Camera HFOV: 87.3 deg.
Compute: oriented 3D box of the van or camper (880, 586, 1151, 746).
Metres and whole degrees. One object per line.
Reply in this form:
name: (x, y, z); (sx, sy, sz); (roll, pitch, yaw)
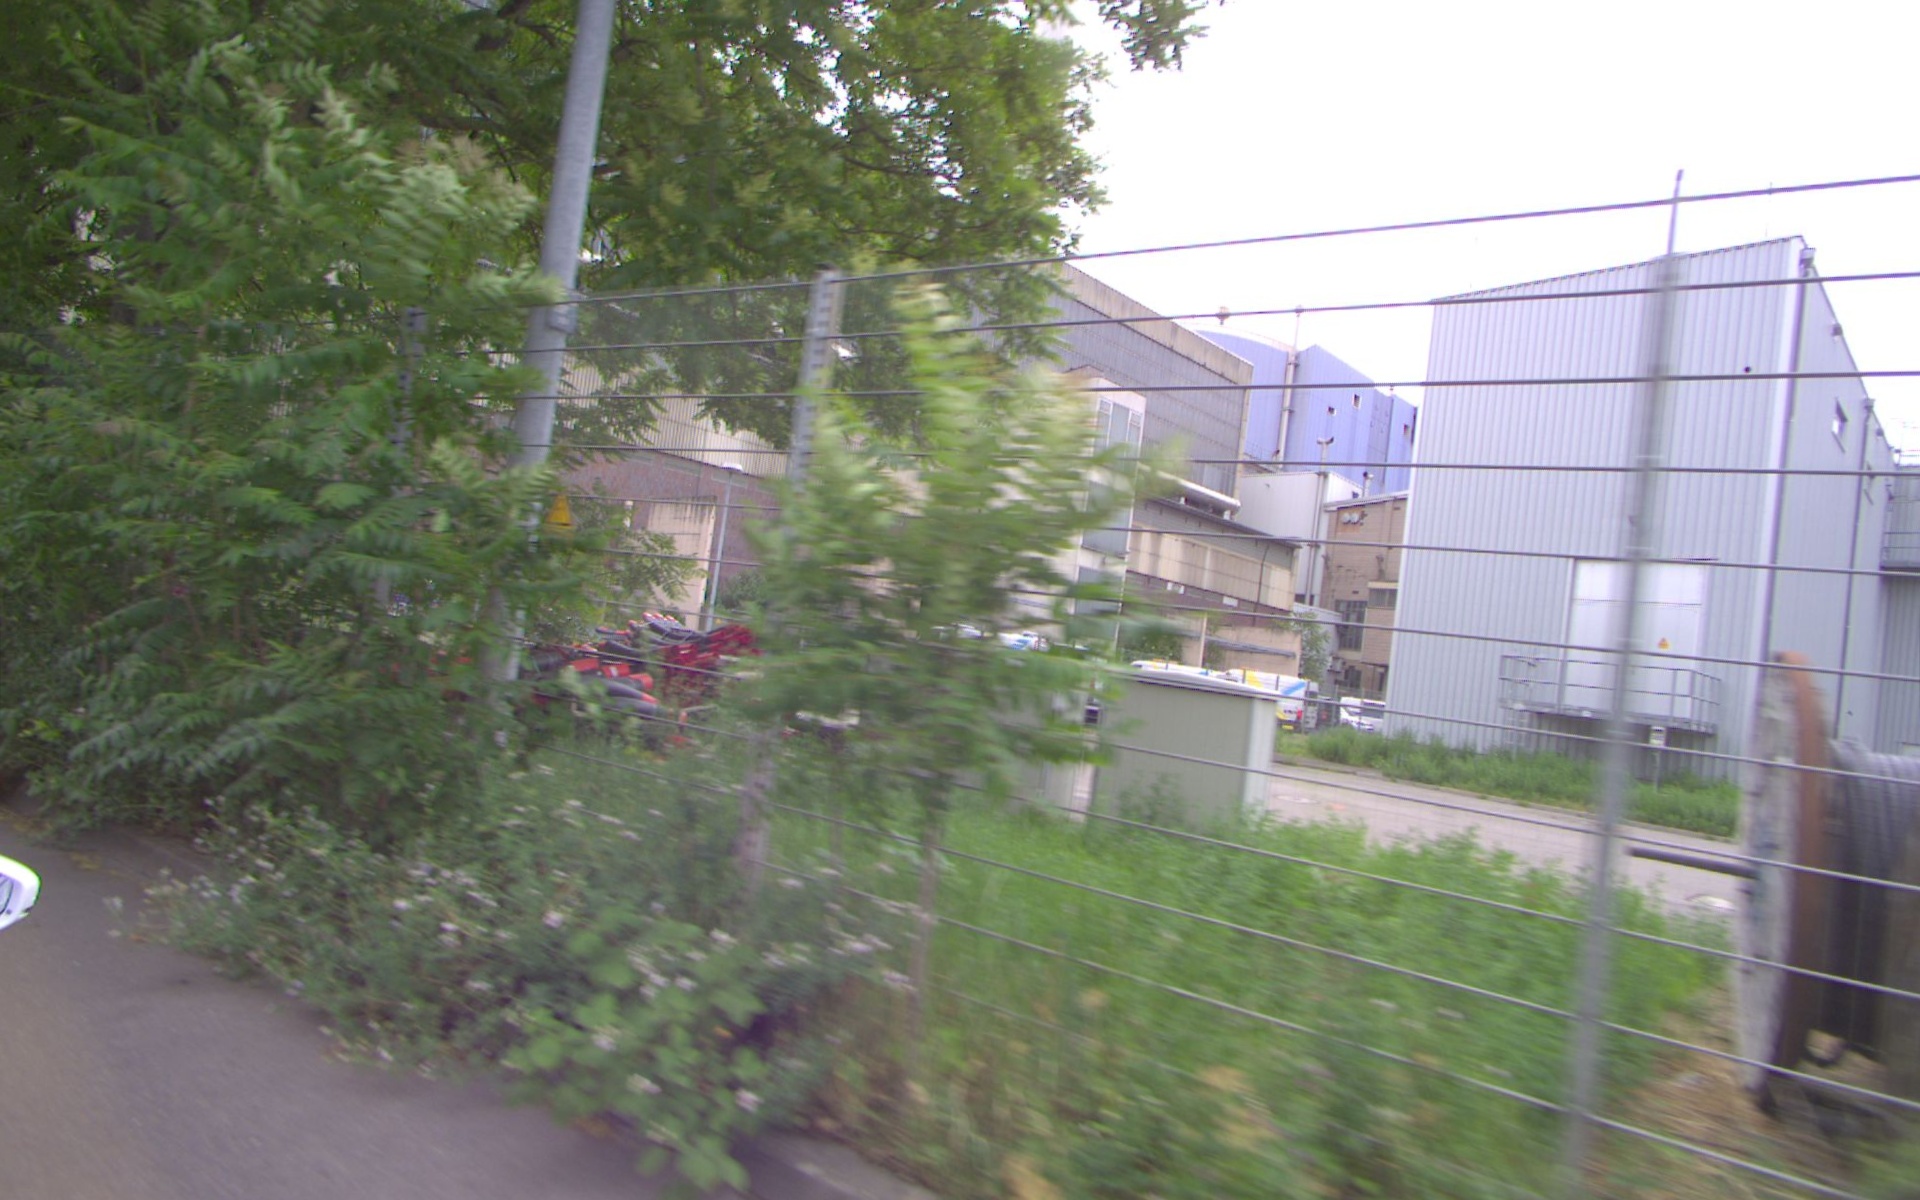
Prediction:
van or camper: (2.626, 2.621, 37.281); (5.391, 4.580, 11.846); (4, -4, 27)
